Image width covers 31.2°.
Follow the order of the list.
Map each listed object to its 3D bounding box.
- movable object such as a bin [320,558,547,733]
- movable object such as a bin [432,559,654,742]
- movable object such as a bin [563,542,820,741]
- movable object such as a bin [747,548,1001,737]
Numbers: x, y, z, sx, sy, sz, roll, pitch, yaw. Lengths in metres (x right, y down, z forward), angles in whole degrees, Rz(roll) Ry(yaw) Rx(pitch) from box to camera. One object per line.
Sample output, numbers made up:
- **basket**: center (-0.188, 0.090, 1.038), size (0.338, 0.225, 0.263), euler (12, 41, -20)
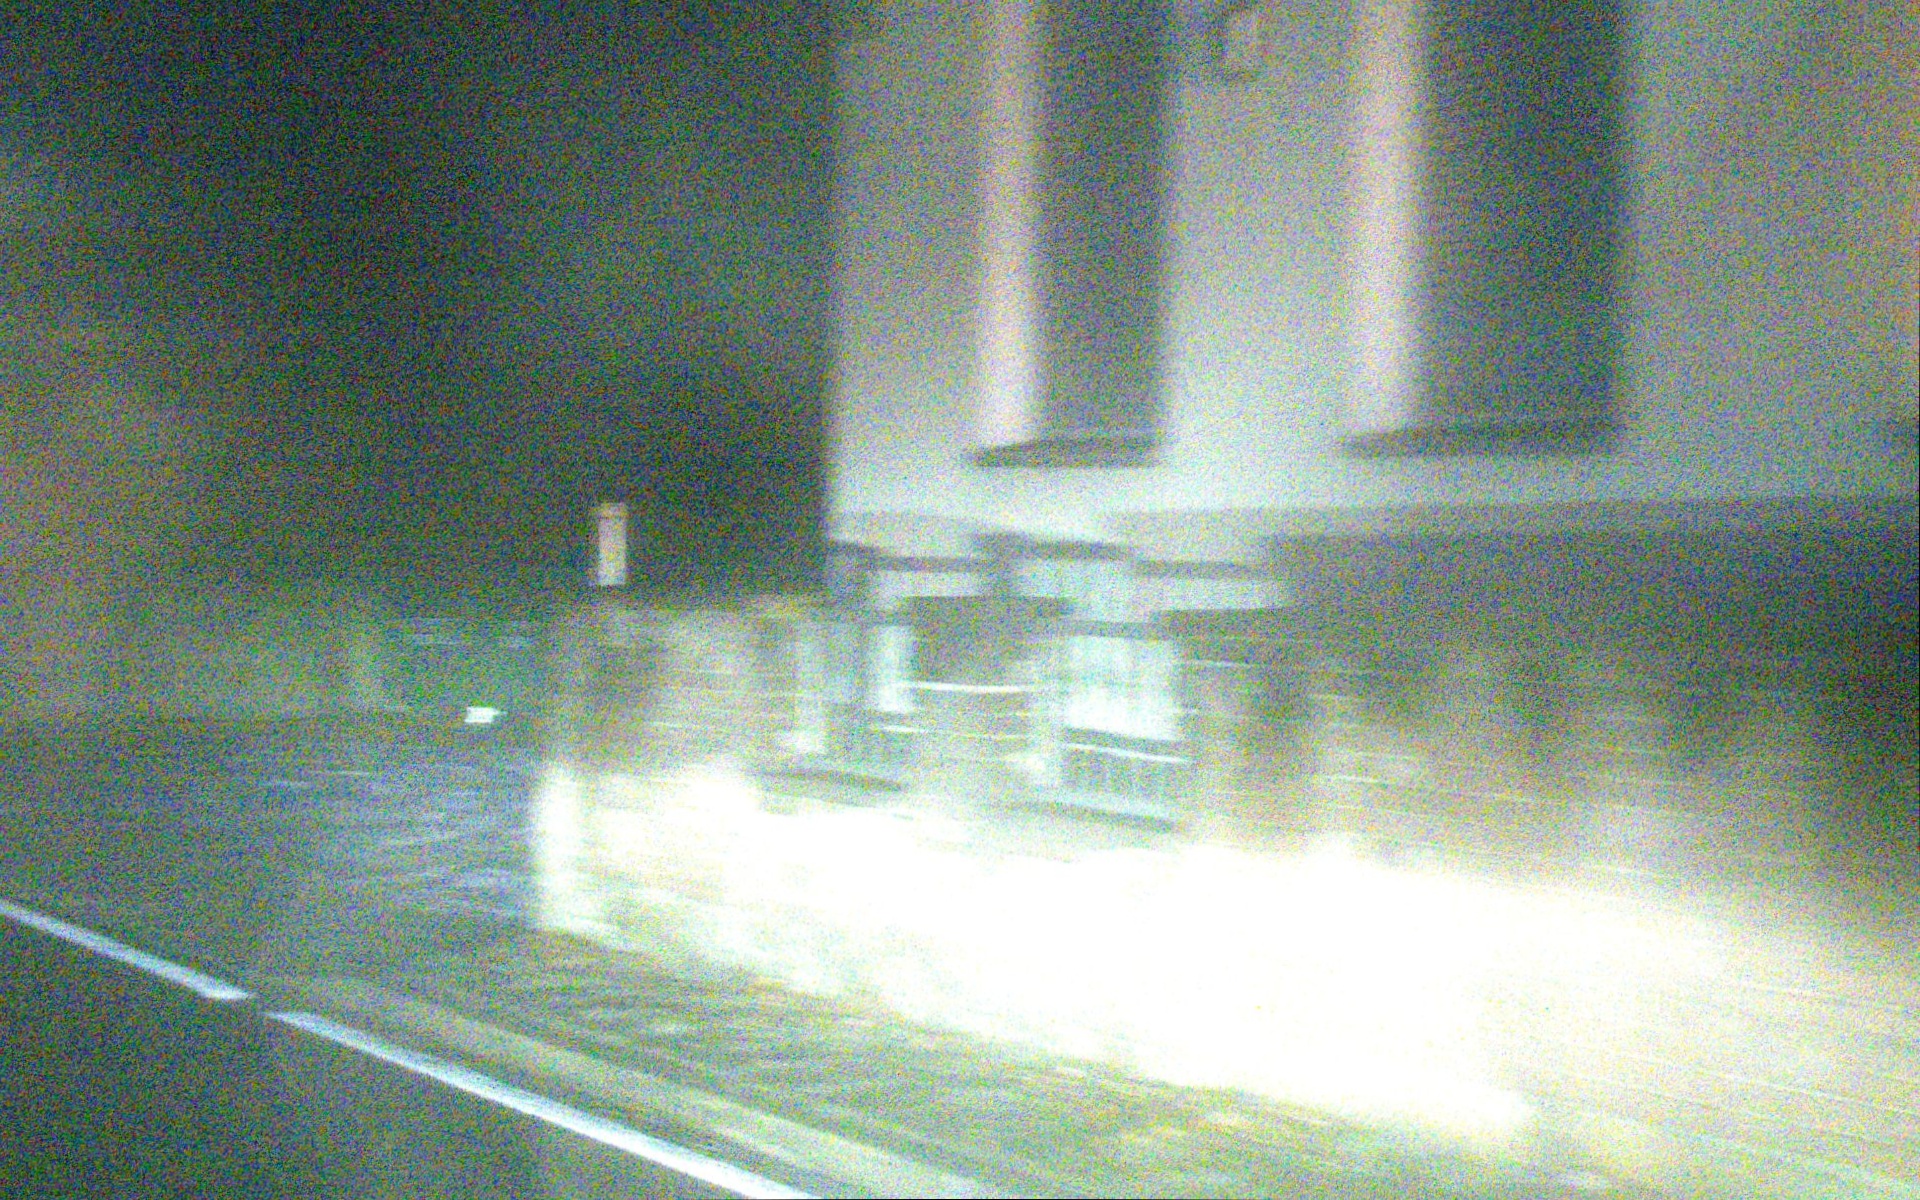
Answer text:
- **movable object such as a bin**: center (-4.166, 0.344, 27.247), size (1.320, 1.304, 1.175), euler (0, 3, 25)
- **movable object such as a bin**: center (-3.179, 0.365, 26.291), size (1.230, 1.320, 1.152), euler (0, 2, 27)
- **movable object such as a bin**: center (-1.998, 0.304, 25.640), size (1.389, 1.408, 1.249), euler (-2, 1, 33)
- **movable object such as a bin**: center (-0.615, 0.301, 24.868), size (1.316, 1.294, 1.249), euler (-2, 1, 33)
